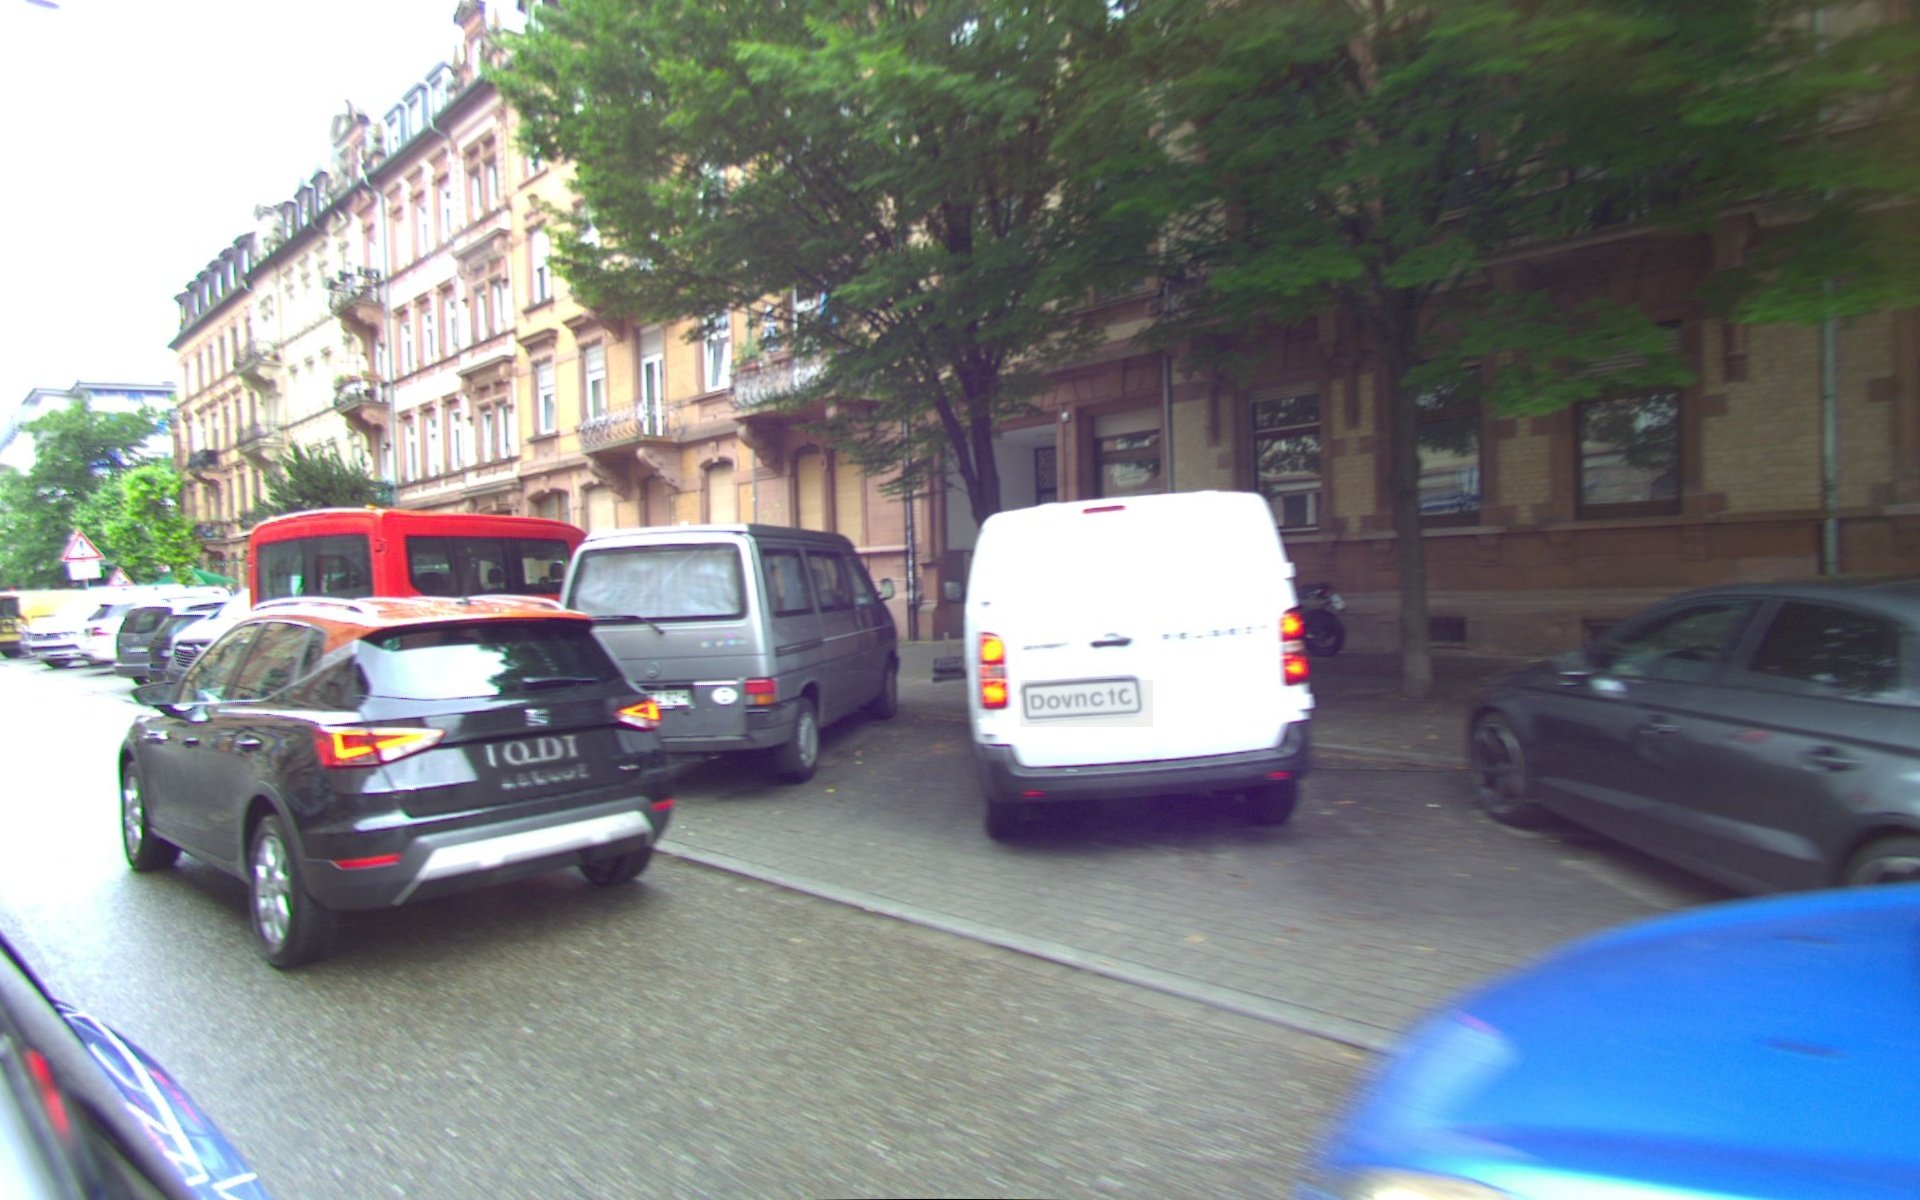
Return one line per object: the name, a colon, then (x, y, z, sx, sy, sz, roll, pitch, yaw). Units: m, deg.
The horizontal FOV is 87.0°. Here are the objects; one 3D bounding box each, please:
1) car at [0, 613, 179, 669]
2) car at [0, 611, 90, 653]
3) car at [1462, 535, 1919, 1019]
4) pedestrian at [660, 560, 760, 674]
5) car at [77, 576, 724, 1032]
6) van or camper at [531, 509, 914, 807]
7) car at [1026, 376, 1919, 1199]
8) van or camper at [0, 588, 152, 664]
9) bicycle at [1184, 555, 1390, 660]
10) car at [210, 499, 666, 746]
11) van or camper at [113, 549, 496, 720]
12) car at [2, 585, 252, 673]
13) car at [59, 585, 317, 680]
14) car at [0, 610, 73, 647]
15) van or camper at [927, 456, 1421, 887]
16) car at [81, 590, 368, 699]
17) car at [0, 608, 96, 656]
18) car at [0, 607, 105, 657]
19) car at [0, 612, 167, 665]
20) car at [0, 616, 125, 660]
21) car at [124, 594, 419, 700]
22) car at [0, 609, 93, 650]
car: (-27.206, 1.242, 31.807, 1.766, 1.446, 3.984, -2, 1, 13)
car: (-42.435, 1.441, 46.081, 1.779, 1.504, 4.132, -1, 4, 6)
car: (3.839, 0.495, 3.997, 1.743, 1.457, 3.978, -3, 2, 1)
pedestrian: (-3.849, 0.253, 15.585, 1.088, 1.641, 0.893, -2, 4, 37)
car: (-3.205, 0.723, 5.438, 3.999, 1.571, 1.653, -1, 1, 39)
van or camper: (-1.737, 0.288, 9.087, 1.761, 1.989, 4.438, -2, 3, 8)
car: (2.138, 0.548, 0.535, 4.001, 1.476, 1.652, -1, 1, 41)
van or camper: (-31.725, 0.865, 35.684, 2.160, 2.284, 4.715, -3, 2, 9)
bicycle: (4.164, 0.105, 13.057, 2.412, 1.202, 0.660, -1, 4, 43)
car: (-6.406, 0.192, 13.477, 2.208, 2.560, 5.549, -2, 1, 14)
van or camper: (-10.495, 0.449, 16.811, 2.323, 2.366, 5.001, -2, 1, 15)
car: (-23.062, 0.716, 28.369, 1.854, 2.094, 5.225, -1, 2, 17)
car: (-18.882, 0.715, 24.904, 2.544, 1.798, 4.533, -1, 3, 41)
car: (-47.904, 1.472, 51.141, 1.975, 1.575, 4.452, -1, 3, 5)
van or camper: (1.036, 0.272, 7.287, 2.304, 1.967, 4.698, -4, 2, 0)
car: (-14.554, 0.799, 20.396, 1.828, 1.642, 4.425, -3, 3, 15)
car: (-40.319, 1.385, 43.914, 1.779, 1.674, 4.133, -2, 4, 5)
car: (-38.046, 1.292, 41.714, 1.779, 1.674, 4.133, -1, 4, 5)
car: (-29.238, 1.244, 33.887, 1.942, 1.506, 3.906, -2, 1, 11)
car: (-34.011, 1.396, 37.957, 1.807, 1.506, 3.988, -2, -1, 9)
car: (-12.600, 0.785, 18.907, 1.741, 1.515, 4.331, -3, 2, 19)
car: (-44.292, 1.433, 47.952, 1.977, 1.574, 4.716, -4, 3, 7)
